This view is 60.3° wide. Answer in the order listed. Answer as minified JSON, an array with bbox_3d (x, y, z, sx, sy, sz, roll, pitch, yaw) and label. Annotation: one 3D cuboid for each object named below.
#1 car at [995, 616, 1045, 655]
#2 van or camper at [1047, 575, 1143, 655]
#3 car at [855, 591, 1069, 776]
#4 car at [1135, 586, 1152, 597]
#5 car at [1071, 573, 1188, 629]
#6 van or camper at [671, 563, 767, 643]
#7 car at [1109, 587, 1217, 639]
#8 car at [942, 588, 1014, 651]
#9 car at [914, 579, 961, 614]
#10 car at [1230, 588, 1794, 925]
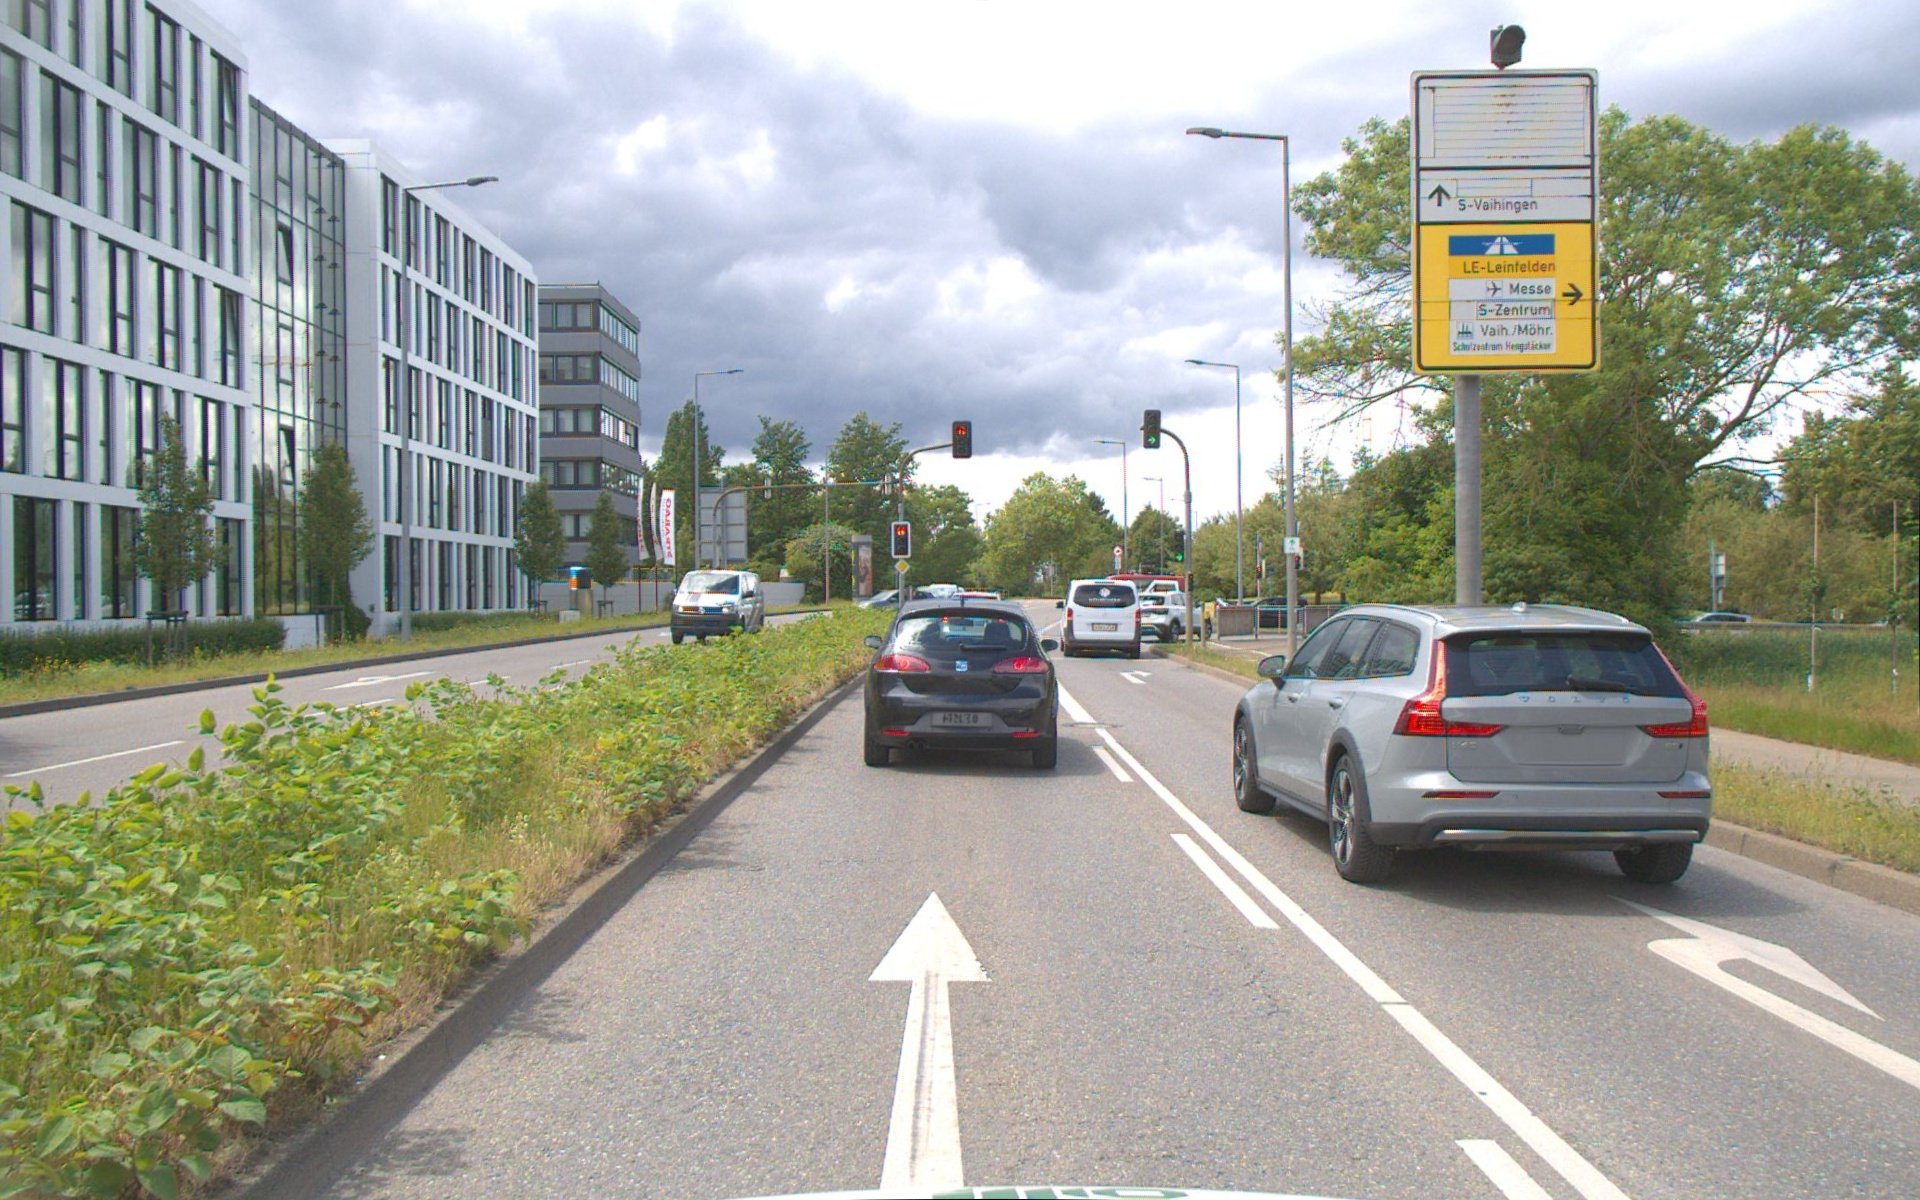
[{"bbox_3d":[2.725,1.567,74.234,1.951,1.624,4.003,0,1,6],"label":"car"},{"bbox_3d":[3.305,0.342,41.455,1.953,1.892,4.943,0,0,-1],"label":"van or camper"},{"bbox_3d":[0.046,0.678,15.419,1.736,1.477,3.583,1,0,1],"label":"car"},{"bbox_3d":[23.982,-1.091,215.770,1.951,1.375,4.004,1,1,9],"label":"car"},{"bbox_3d":[7.535,0.043,73.724,5.113,2.454,2.001,0,0,5],"label":"car"},{"bbox_3d":[-6.494,0.072,45.062,1.953,2.049,4.815,0,0,0],"label":"van or camper"},{"bbox_3d":[6.572,0.399,53.319,1.958,1.624,3.990,0,0,32],"label":"car"},{"bbox_3d":[0.422,0.461,42.548,1.737,1.517,3.581,-1,0,-1],"label":"car"},{"bbox_3d":[-1.050,-0.177,80.339,1.951,1.624,4.002,0,1,4],"label":"car"},{"bbox_3d":[2.958,0.714,9.975,1.825,1.545,4.445,-1,0,-1],"label":"car"}]
